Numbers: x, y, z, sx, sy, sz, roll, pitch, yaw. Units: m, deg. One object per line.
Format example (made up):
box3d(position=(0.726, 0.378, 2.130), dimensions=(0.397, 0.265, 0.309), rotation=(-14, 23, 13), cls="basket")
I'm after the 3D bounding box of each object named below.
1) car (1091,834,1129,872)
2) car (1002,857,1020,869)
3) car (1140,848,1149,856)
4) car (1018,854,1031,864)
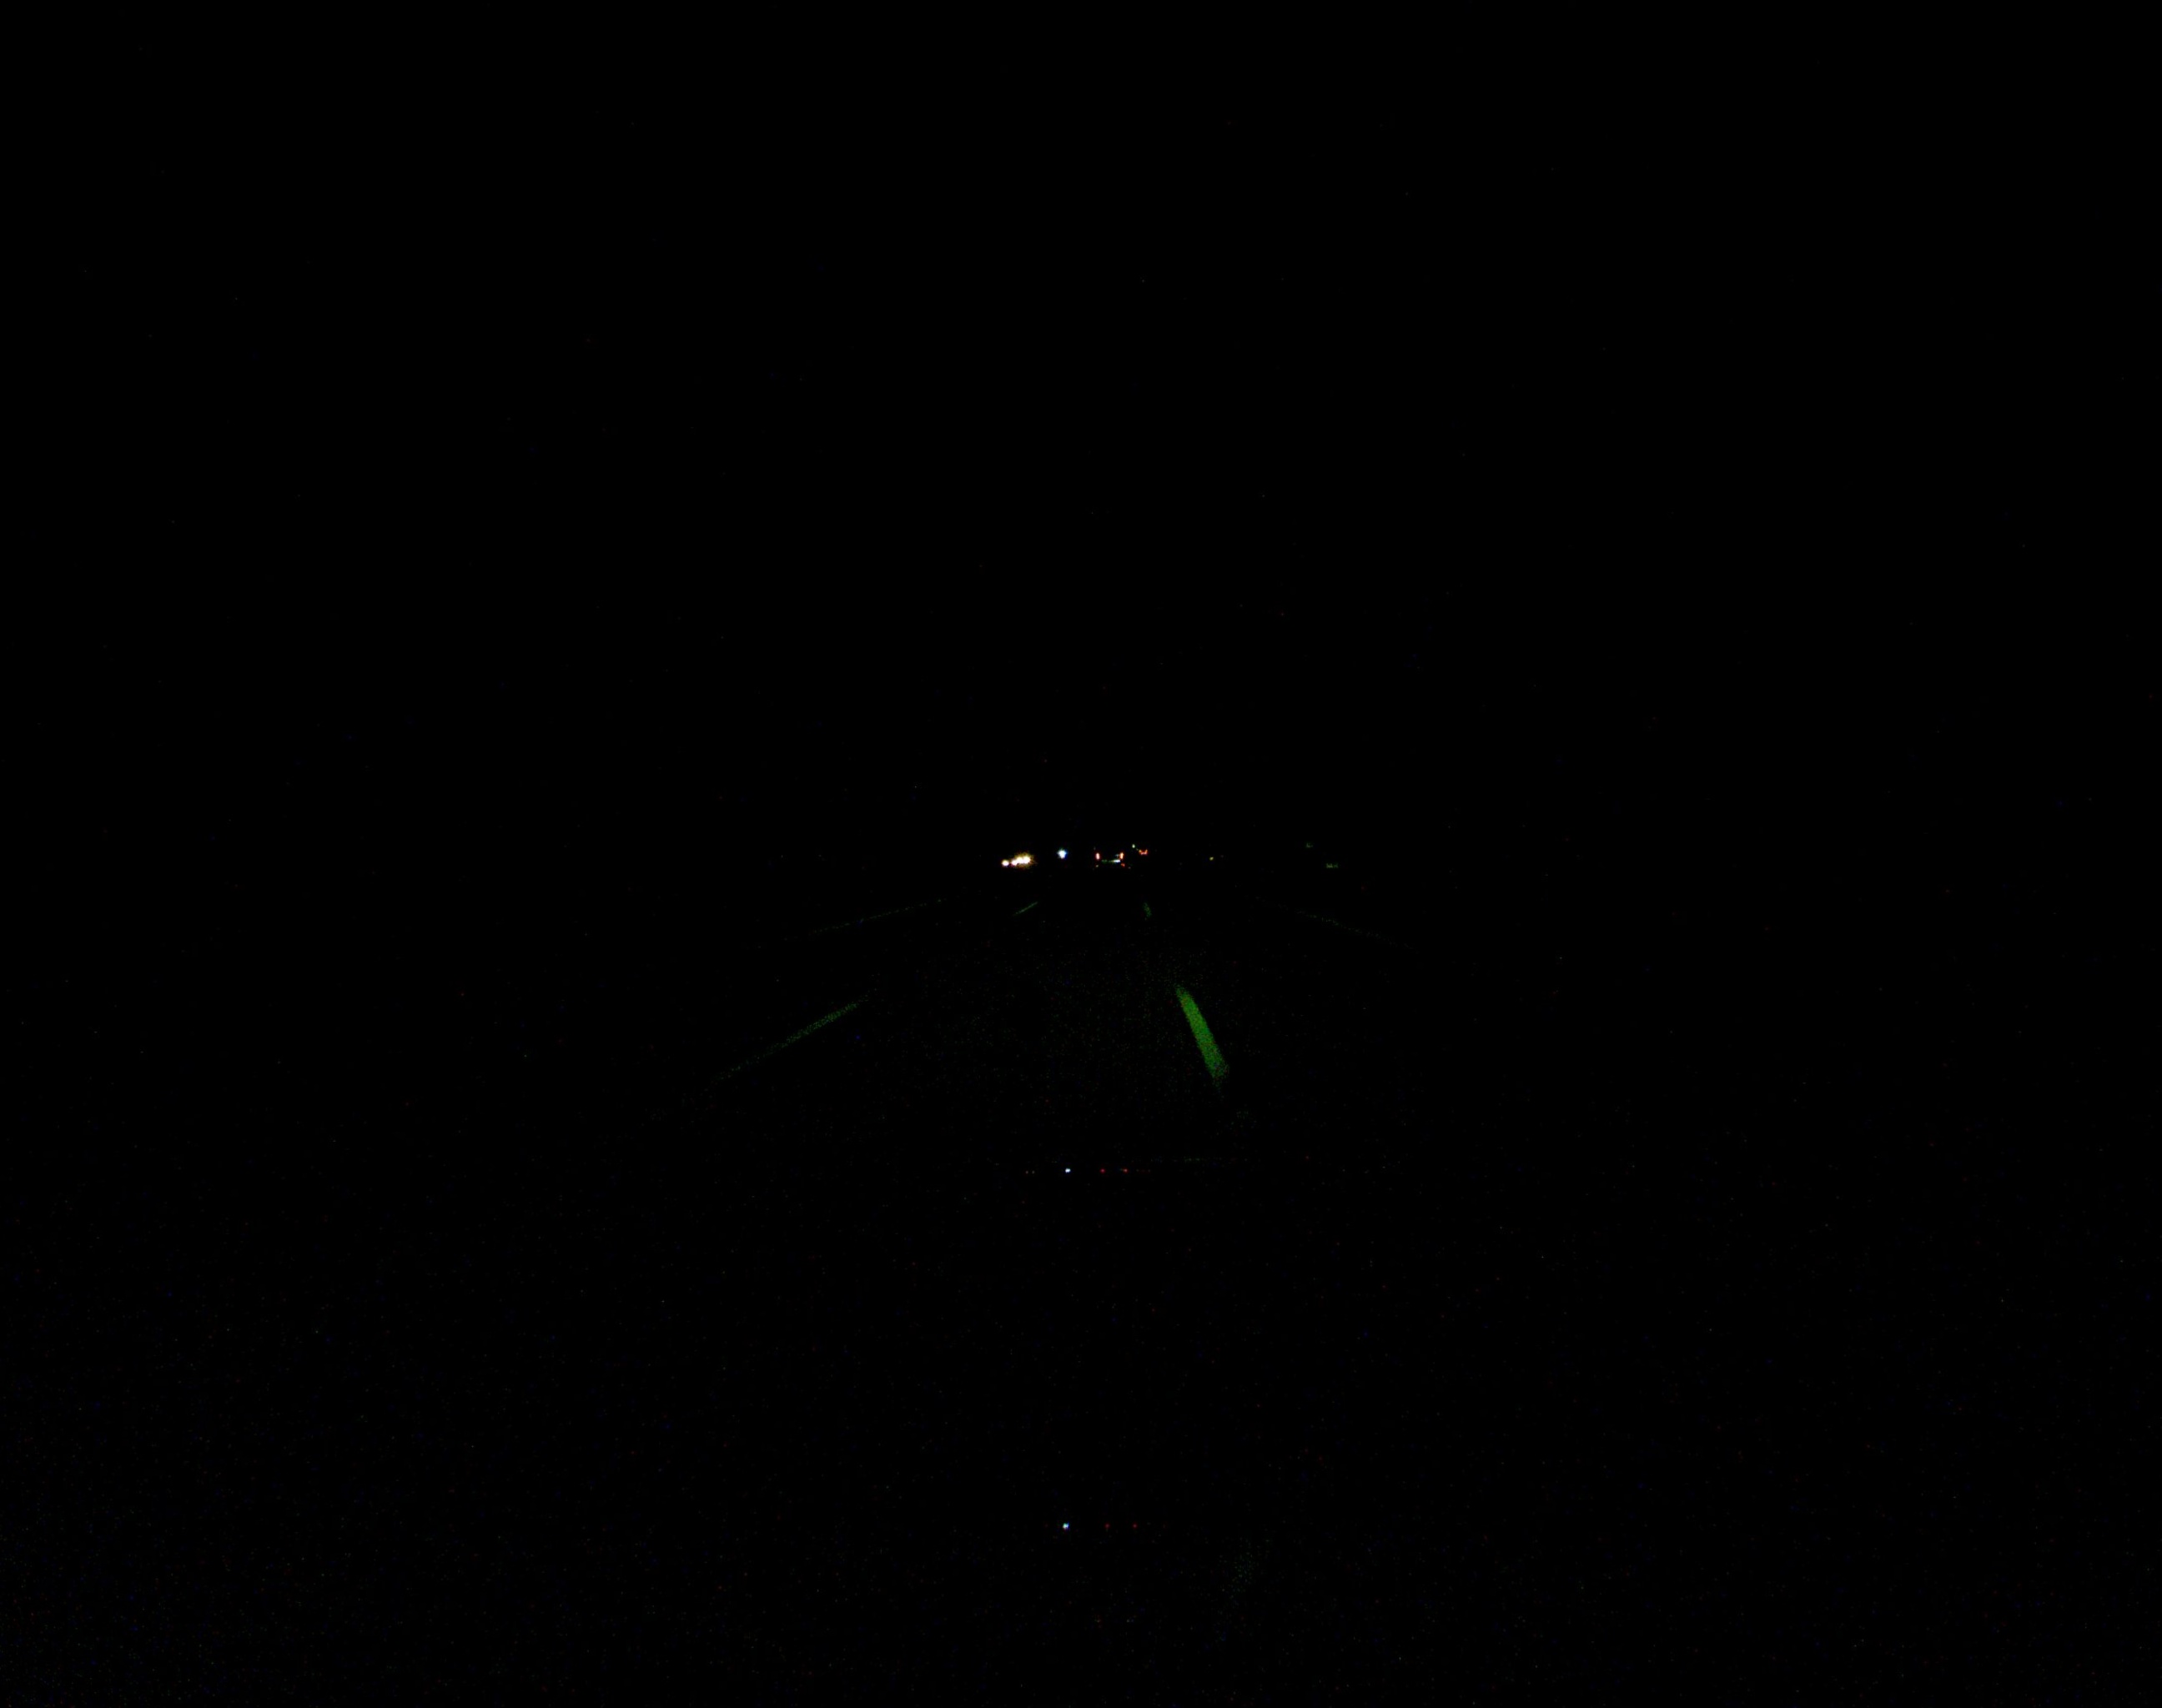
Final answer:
box3d(position=(2.324, -0.072, 64.090), dimensions=(2.775, 2.733, 6.303), rotation=(-2, 0, 2), cls="car")
box3d(position=(-10.252, 1.287, 120.057), dimensions=(1.925, 1.604, 4.956), rotation=(-2, 0, 2), cls="car")
box3d(position=(15.336, -0.475, 197.107), dimensions=(1.836, 1.640, 4.002), rotation=(-2, 0, 2), cls="car")
box3d(position=(-11.902, 0.945, 170.829), dimensions=(2.020, 1.968, 5.399), rotation=(-2, 0, 2), cls="car")
